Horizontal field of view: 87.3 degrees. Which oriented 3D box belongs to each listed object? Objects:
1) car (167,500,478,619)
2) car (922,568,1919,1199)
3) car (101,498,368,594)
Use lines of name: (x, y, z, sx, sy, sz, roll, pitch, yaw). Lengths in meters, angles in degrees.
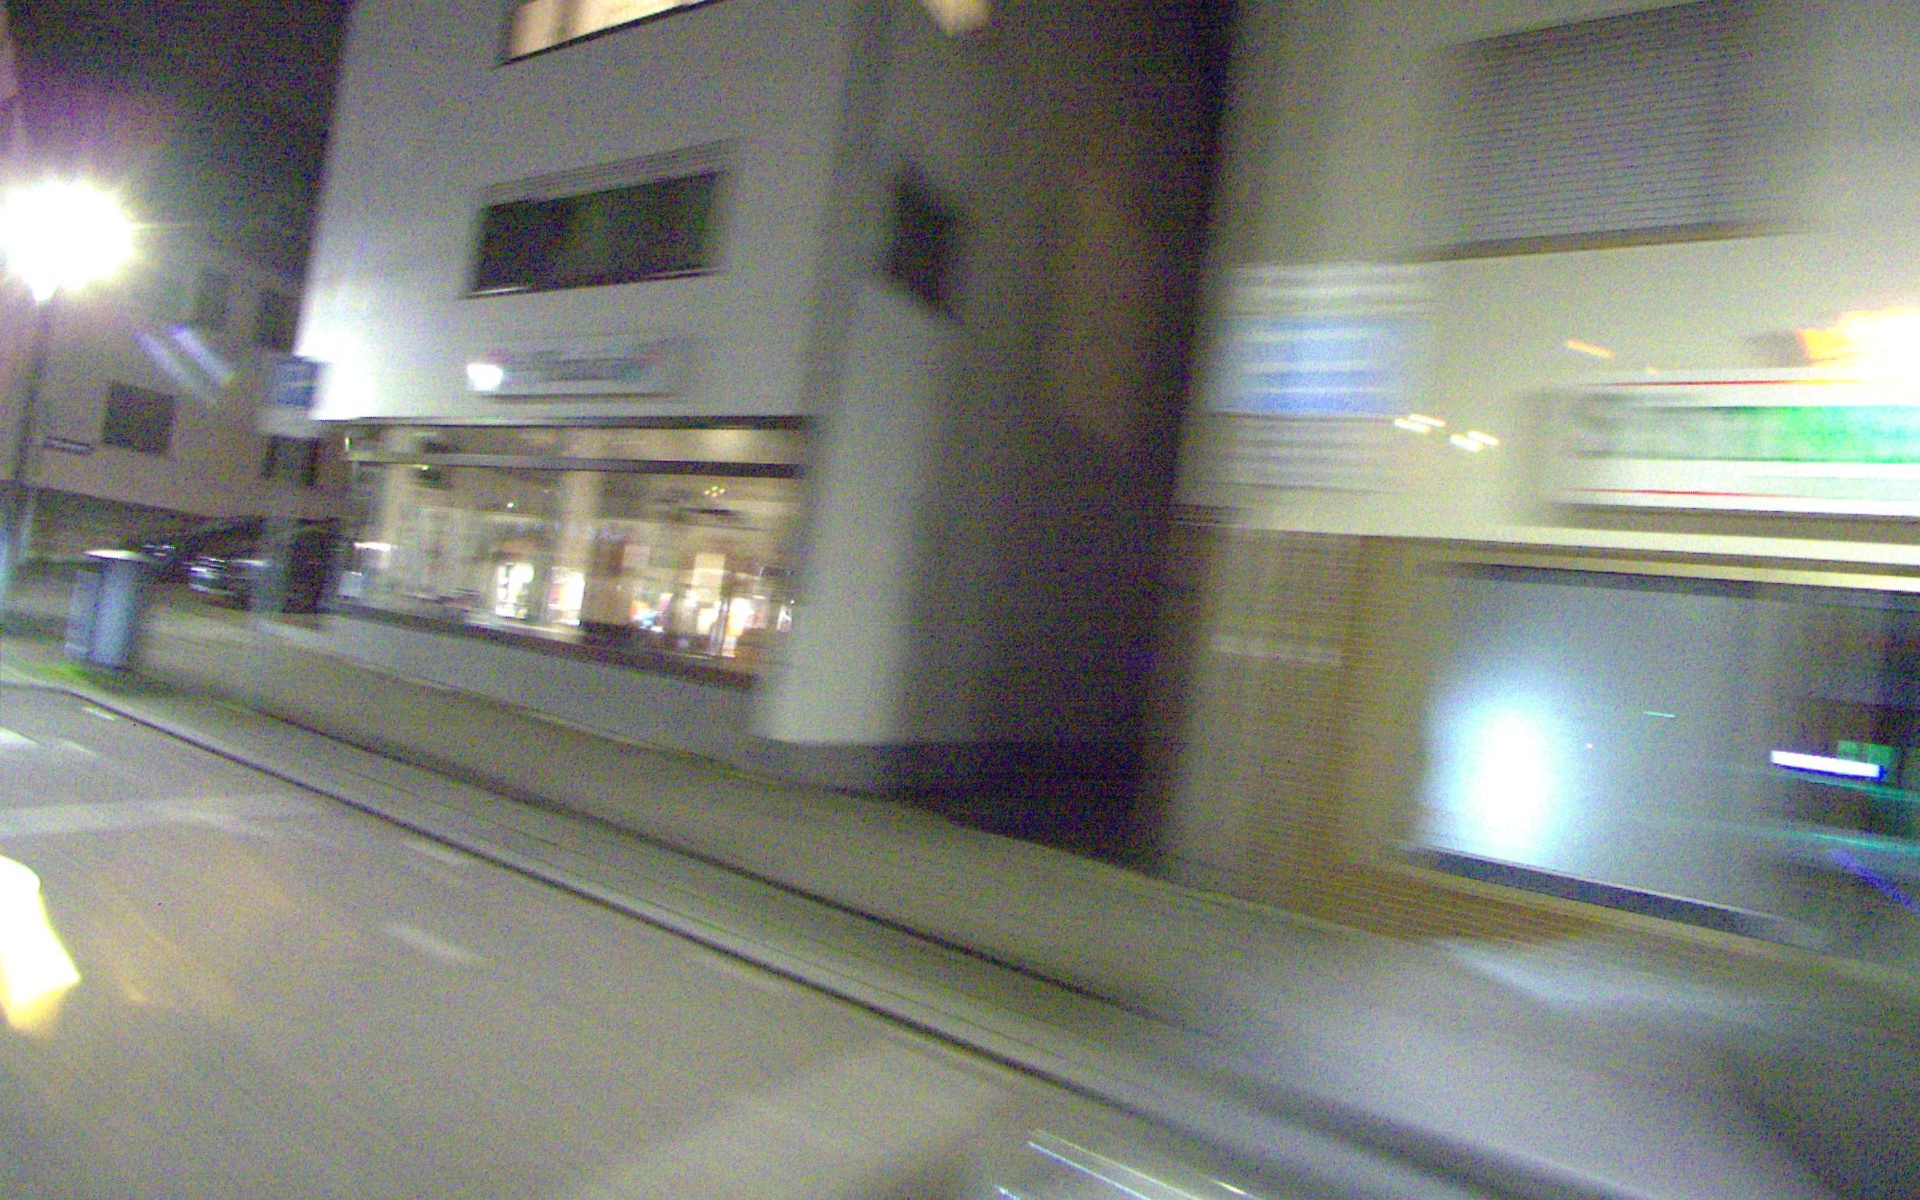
car: (-10.718, -0.609, 17.239, 1.785, 1.602, 4.081, 8, 2, 28)
car: (1.924, 0.941, 1.245, 3.613, 1.476, 1.678, 6, -2, 30)
car: (-14.567, -1.036, 20.429, 1.722, 1.496, 3.991, 6, 1, 29)
